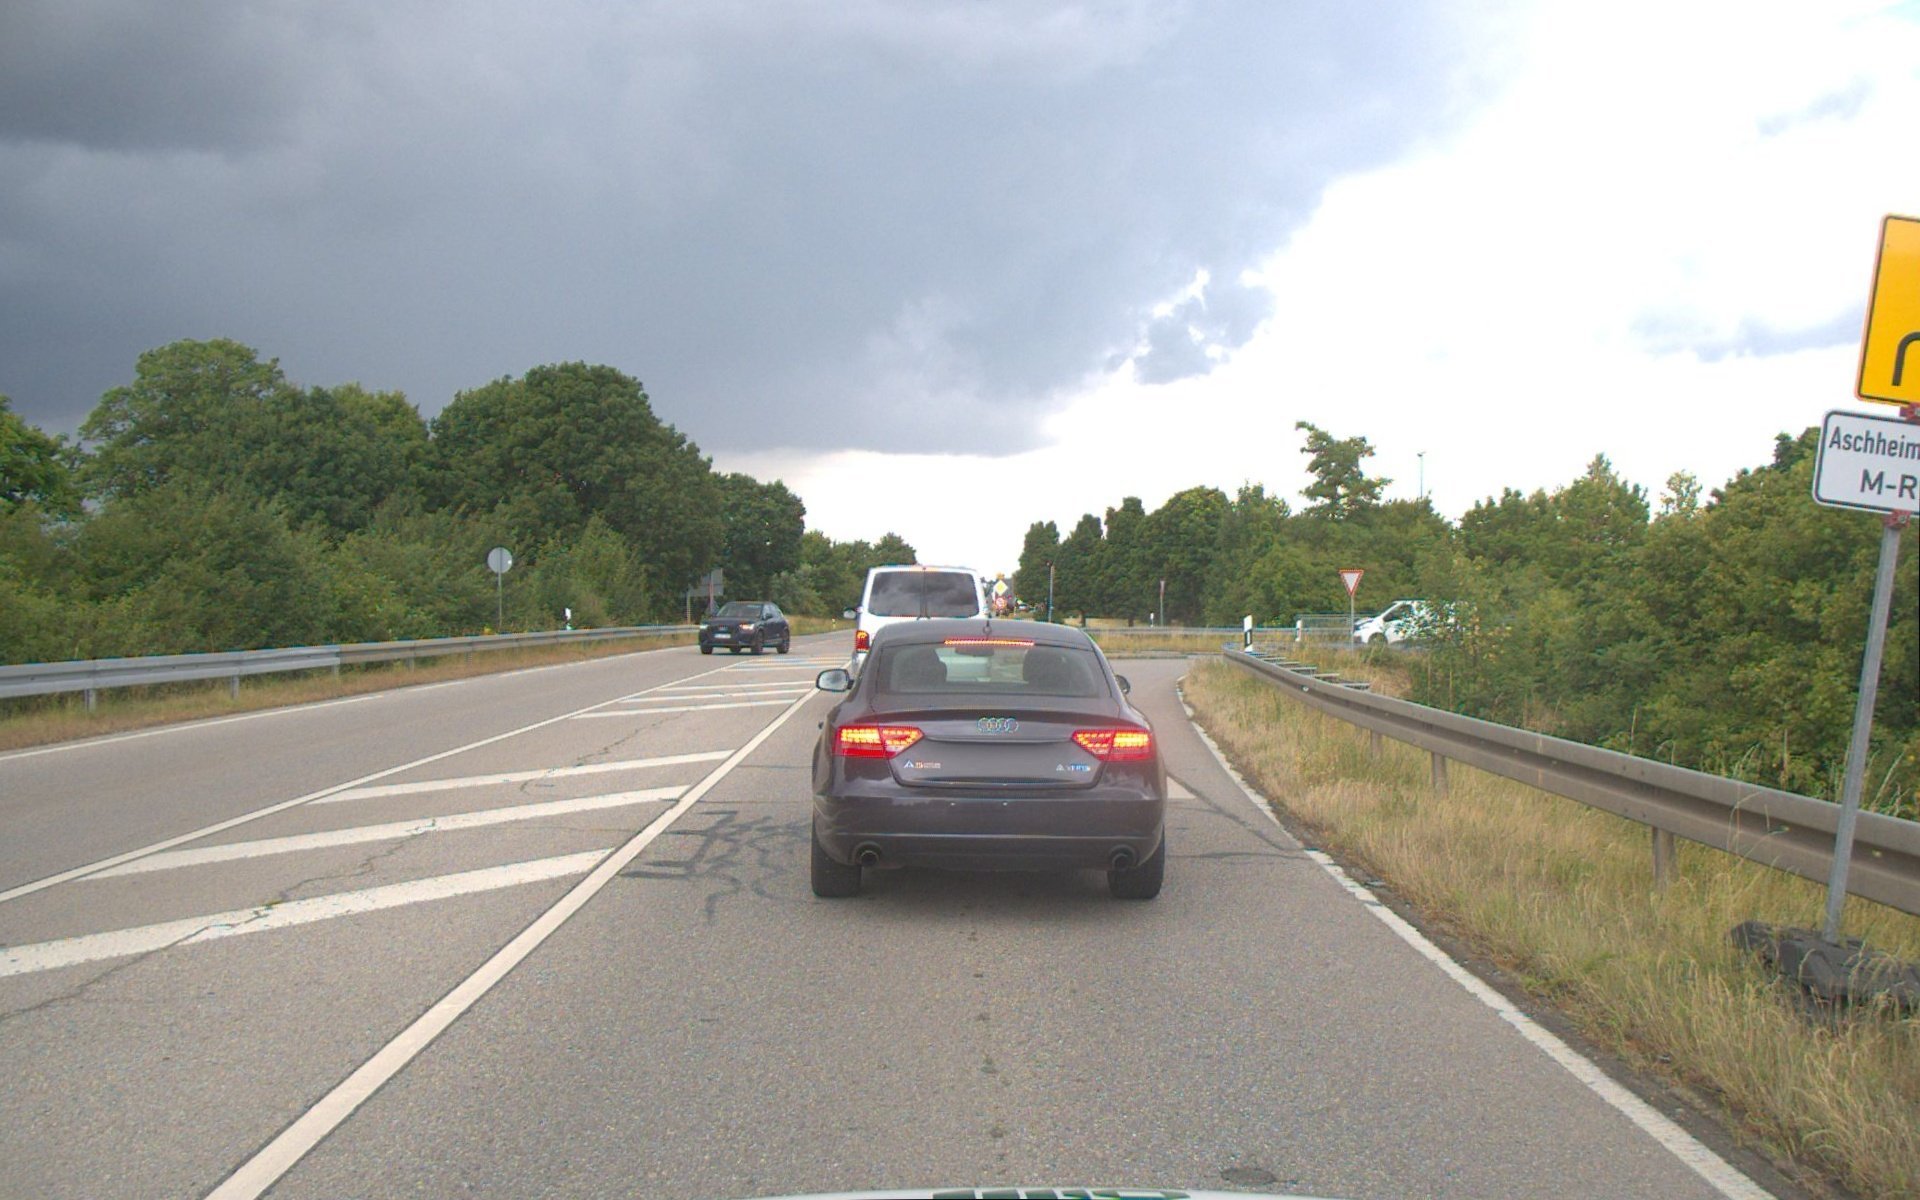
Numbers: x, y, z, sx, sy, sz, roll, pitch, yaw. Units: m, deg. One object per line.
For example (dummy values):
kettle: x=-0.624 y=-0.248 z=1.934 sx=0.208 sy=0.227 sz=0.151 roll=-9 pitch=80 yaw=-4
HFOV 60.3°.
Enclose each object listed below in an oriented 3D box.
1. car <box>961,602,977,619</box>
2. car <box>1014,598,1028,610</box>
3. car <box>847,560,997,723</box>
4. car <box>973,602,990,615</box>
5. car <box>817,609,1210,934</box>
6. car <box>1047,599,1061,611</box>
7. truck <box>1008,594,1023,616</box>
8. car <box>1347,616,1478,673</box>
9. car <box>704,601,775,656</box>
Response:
car: x=1.137 y=1.360 z=208.120 sx=1.952 sy=2.049 sz=4.000 roll=1 pitch=0 yaw=0
car: x=9.048 y=0.528 z=246.461 sx=1.952 sy=1.722 sz=4.000 roll=1 pitch=0 yaw=1
car: x=-0.552 y=0.515 z=23.028 sx=1.872 sy=2.049 sz=3.998 roll=1 pitch=0 yaw=-2
car: x=2.948 y=1.173 z=226.939 sx=2.161 sy=1.610 sz=4.377 roll=1 pitch=0 yaw=-2
car: x=0.176 y=0.772 z=9.021 sx=1.744 sy=1.423 sz=3.335 roll=0 pitch=0 yaw=-2
car: x=13.636 y=0.764 z=239.535 sx=1.836 sy=1.722 sz=4.002 roll=1 pitch=0 yaw=4
truck: x=7.631 y=0.692 z=228.309 sx=1.952 sy=2.969 sz=5.794 roll=1 pitch=0 yaw=1
car: x=17.955 y=1.756 z=65.825 sx=4.757 sy=2.101 sz=2.089 roll=1 pitch=0 yaw=6
car: x=-6.643 y=0.814 z=50.116 sx=1.675 sy=1.545 sz=4.208 roll=1 pitch=0 yaw=-2
